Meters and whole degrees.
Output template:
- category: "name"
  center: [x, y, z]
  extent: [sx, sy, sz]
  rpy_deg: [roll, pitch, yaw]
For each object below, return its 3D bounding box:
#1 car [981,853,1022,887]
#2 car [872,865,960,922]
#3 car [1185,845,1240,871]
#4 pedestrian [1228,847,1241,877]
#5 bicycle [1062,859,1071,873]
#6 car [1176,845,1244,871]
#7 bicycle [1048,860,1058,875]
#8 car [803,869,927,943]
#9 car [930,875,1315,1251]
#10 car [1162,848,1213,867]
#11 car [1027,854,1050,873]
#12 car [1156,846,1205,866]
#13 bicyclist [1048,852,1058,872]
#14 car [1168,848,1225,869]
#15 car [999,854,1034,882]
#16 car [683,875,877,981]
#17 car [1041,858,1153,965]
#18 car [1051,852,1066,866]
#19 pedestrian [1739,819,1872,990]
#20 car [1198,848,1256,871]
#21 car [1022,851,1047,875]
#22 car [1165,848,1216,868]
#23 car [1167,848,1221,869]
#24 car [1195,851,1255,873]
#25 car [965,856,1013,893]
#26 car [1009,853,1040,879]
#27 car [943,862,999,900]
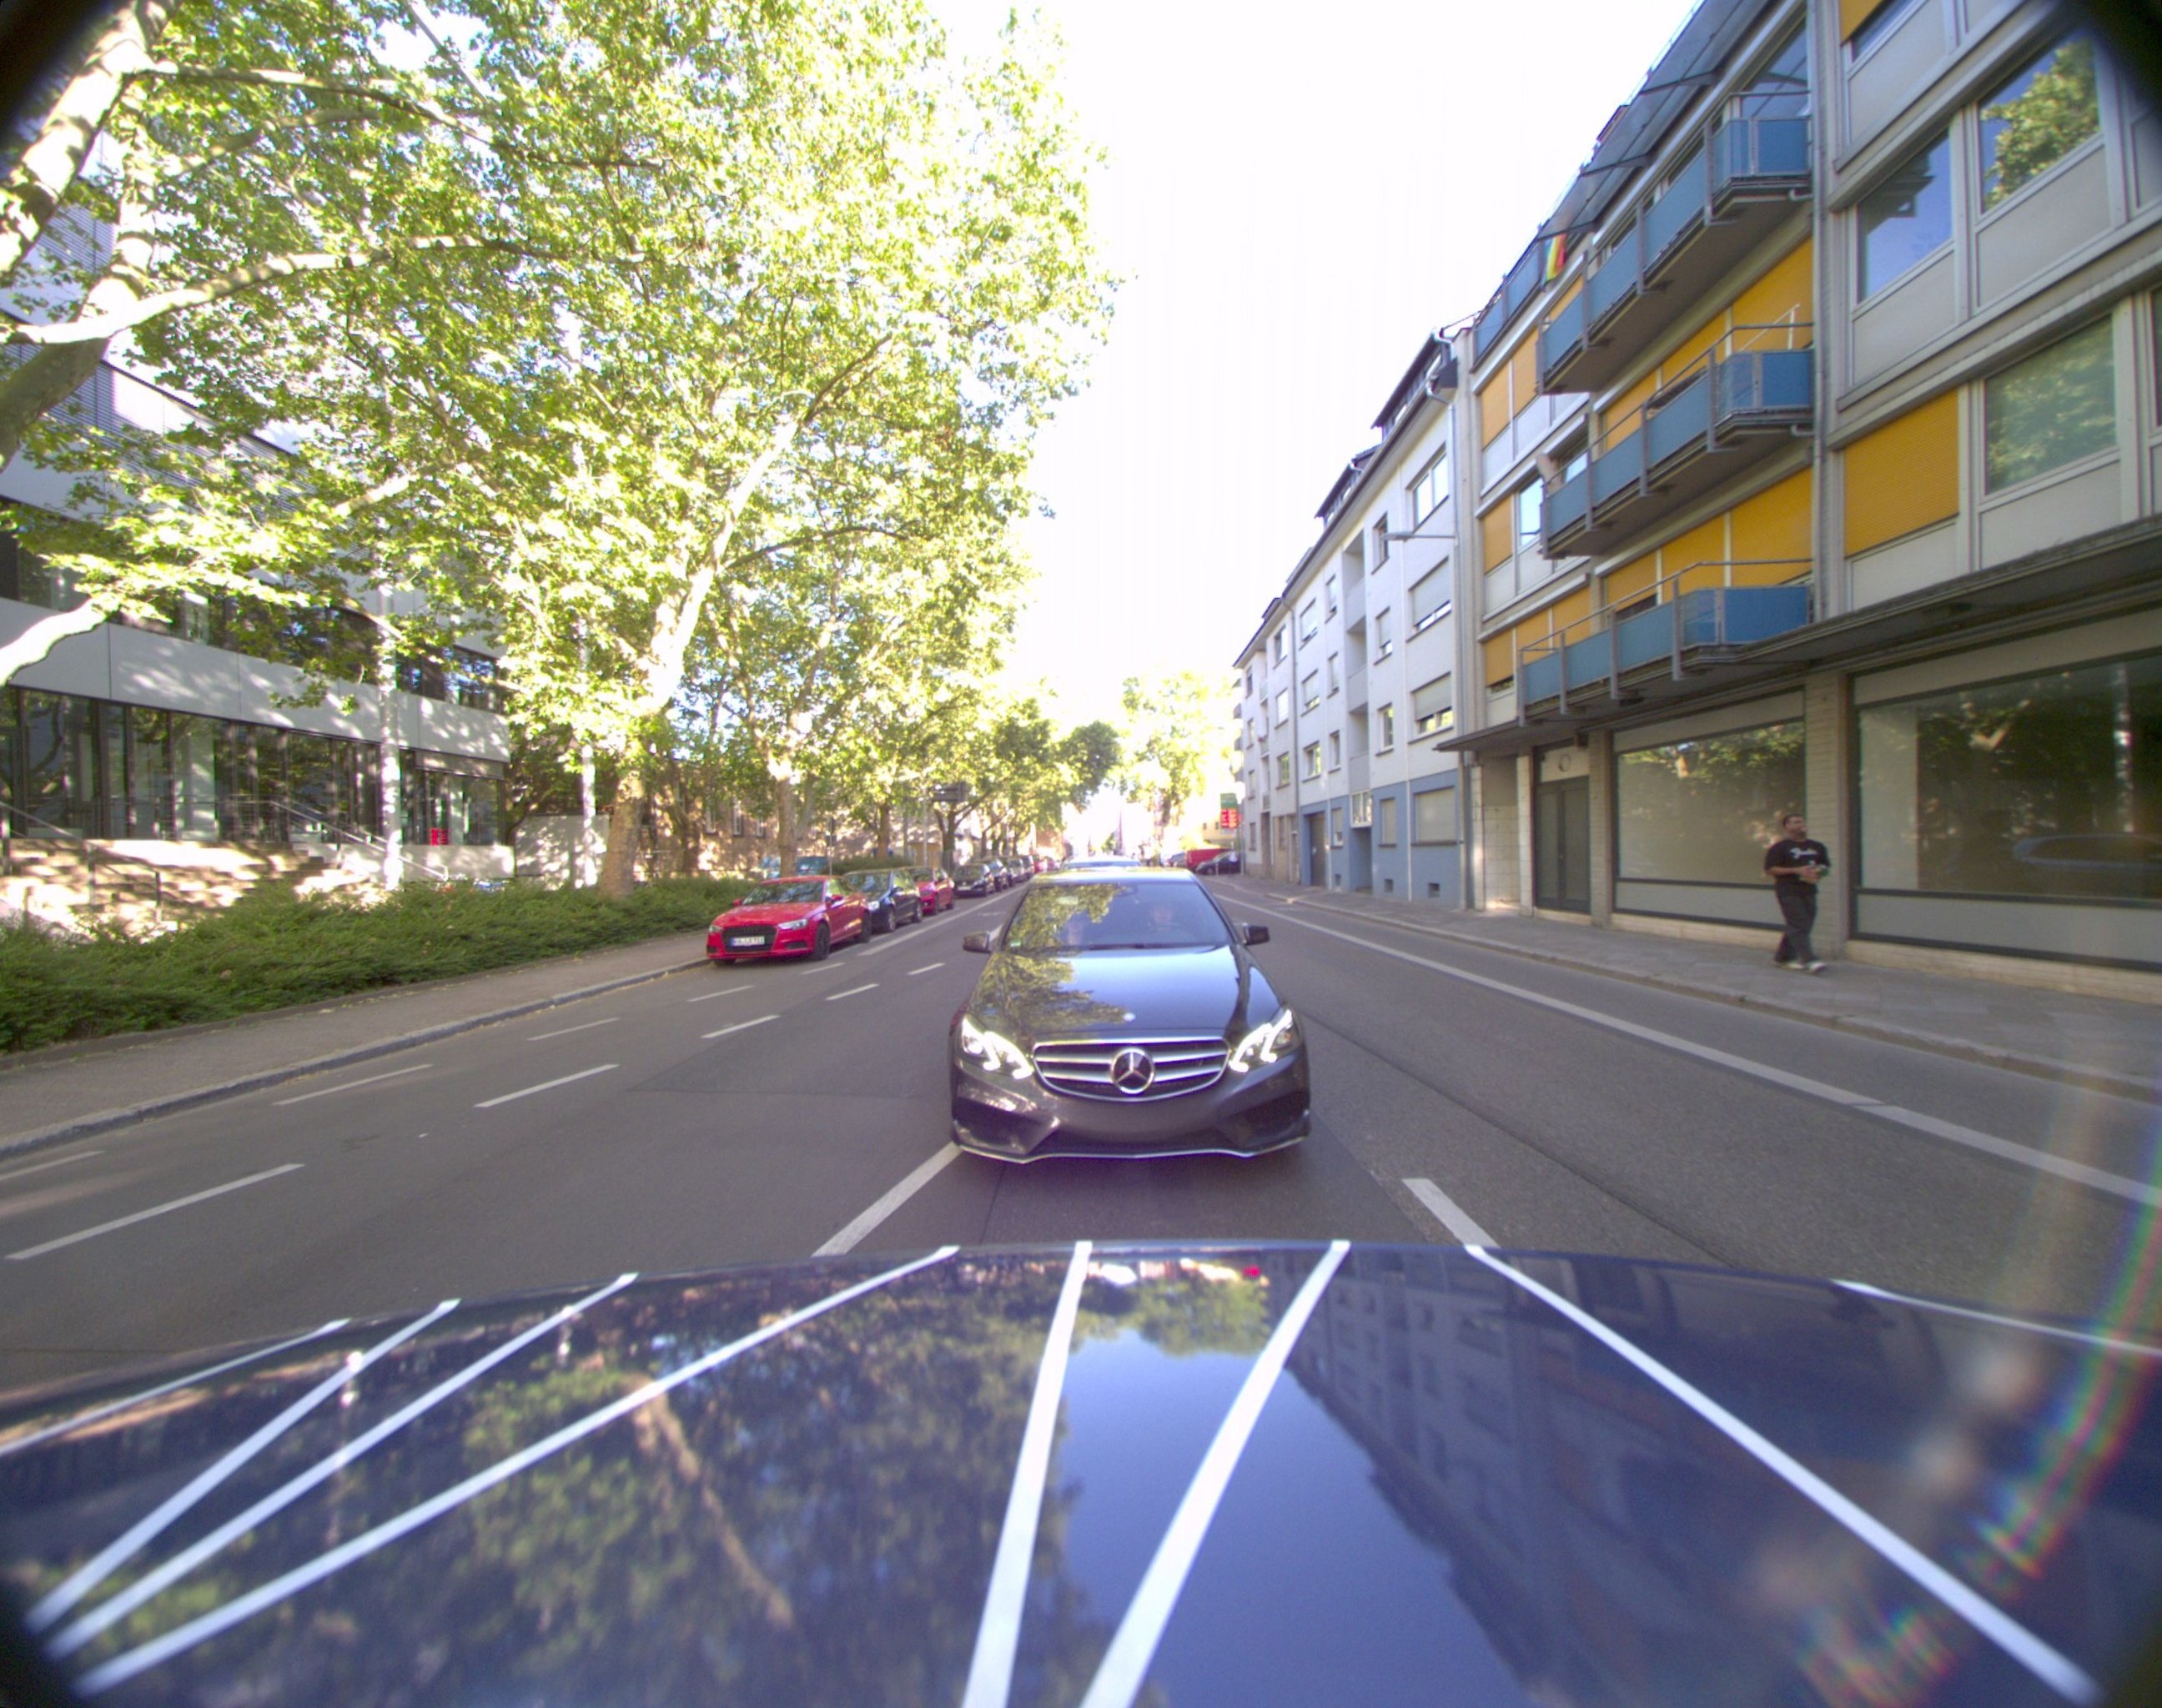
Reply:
- category: "car"
  center: [-4.554, 0.872, 44.058]
  extent: [1.755, 1.810, 4.447]
  rpy_deg: [-3, 0, 1]
- category: "car"
  center: [-5.035, 1.147, 23.652]
  extent: [1.755, 1.459, 3.909]
  rpy_deg: [-3, 0, 1]
- category: "car"
  center: [10.330, 0.301, 60.077]
  extent: [3.997, 1.926, 1.867]
  rpy_deg: [-2, 0, 1]
- category: "pedestrian"
  center: [8.992, 0.461, 44.508]
  extent: [0.608, 1.737, 0.756]
  rpy_deg: [-2, 1, 1]
- category: "bicycle"
  center: [-1.059, 0.878, 55.946]
  extent: [0.574, 1.053, 1.595]
  rpy_deg: [-2, 0, 1]
- category: "car"
  center: [10.635, 0.295, 63.101]
  extent: [5.223, 1.969, 2.257]
  rpy_deg: [-2, 0, 1]
- category: "bicycle"
  center: [-2.065, 1.022, 56.231]
  extent: [0.650, 1.053, 1.595]
  rpy_deg: [-2, 0, 1]
- category: "car"
  center: [-5.085, 1.173, 18.439]
  extent: [1.755, 1.424, 3.909]
  rpy_deg: [-3, 0, 1]
- category: "car"
  center: [0.211, 0.984, 5.353]
  extent: [1.667, 1.499, 4.000]
  rpy_deg: [-1, 0, 1]
- category: "car"
  center: [11.321, 0.348, 81.181]
  extent: [5.042, 1.926, 2.315]
  rpy_deg: [-2, 0, 1]
- category: "car"
  center: [-4.004, 0.904, 72.171]
  extent: [1.755, 1.652, 4.447]
  rpy_deg: [-3, 0, 1]
- category: "car"
  center: [11.188, 0.202, 85.517]
  extent: [5.143, 2.135, 2.187]
  rpy_deg: [-2, 0, 1]
- category: "bicyclist"
  center: [-2.073, 0.583, 56.243]
  extent: [0.650, 1.427, 0.741]
  rpy_deg: [-2, 1, 1]
- category: "car"
  center: [11.098, 0.444, 73.517]
  extent: [5.143, 1.926, 2.187]
  rpy_deg: [-2, 0, 1]
- category: "car"
  center: [-4.273, 0.881, 50.941]
  extent: [1.755, 1.718, 4.447]
  rpy_deg: [-3, 0, 1]
- category: "car"
  center: [-5.125, 1.183, 13.593]
  extent: [1.755, 1.400, 4.000]
  rpy_deg: [-3, 0, 1]
- category: "car"
  center: [0.270, 0.887, 13.605]
  extent: [1.667, 1.563, 4.000]
  rpy_deg: [-1, 0, 1]
- category: "car"
  center: [-3.016, 0.651, 103.199]
  extent: [1.755, 1.652, 4.447]
  rpy_deg: [-3, 0, 1]
- category: "pedestrian"
  center: [7.930, 0.529, 8.352]
  extent: [0.663, 1.761, 0.793]
  rpy_deg: [-2, 1, 1]
- category: "car"
  center: [10.912, 0.392, 56.987]
  extent: [3.997, 1.552, 1.743]
  rpy_deg: [-2, 0, 1]
- category: "car"
  center: [-3.998, 0.730, 66.385]
  extent: [1.755, 1.941, 4.447]
  rpy_deg: [-3, 0, 1]
- category: "car"
  center: [11.285, 0.373, 78.716]
  extent: [4.991, 1.926, 2.083]
  rpy_deg: [-2, 0, 1]
- category: "car"
  center: [11.271, 0.405, 76.218]
  extent: [5.054, 1.926, 2.161]
  rpy_deg: [-2, 0, 1]
- category: "car"
  center: [10.356, 0.563, 54.777]
  extent: [3.997, 1.412, 1.743]
  rpy_deg: [-2, 0, 1]
- category: "car"
  center: [-4.564, 0.977, 38.260]
  extent: [1.755, 1.644, 4.174]
  rpy_deg: [-3, 0, 1]
- category: "car"
  center: [-4.103, 0.823, 55.752]
  extent: [1.755, 1.753, 4.447]
  rpy_deg: [-3, 0, 1]
- category: "car"
  center: [-4.751, 1.119, 33.289]
  extent: [1.755, 1.424, 3.909]
  rpy_deg: [-3, 0, 1]
